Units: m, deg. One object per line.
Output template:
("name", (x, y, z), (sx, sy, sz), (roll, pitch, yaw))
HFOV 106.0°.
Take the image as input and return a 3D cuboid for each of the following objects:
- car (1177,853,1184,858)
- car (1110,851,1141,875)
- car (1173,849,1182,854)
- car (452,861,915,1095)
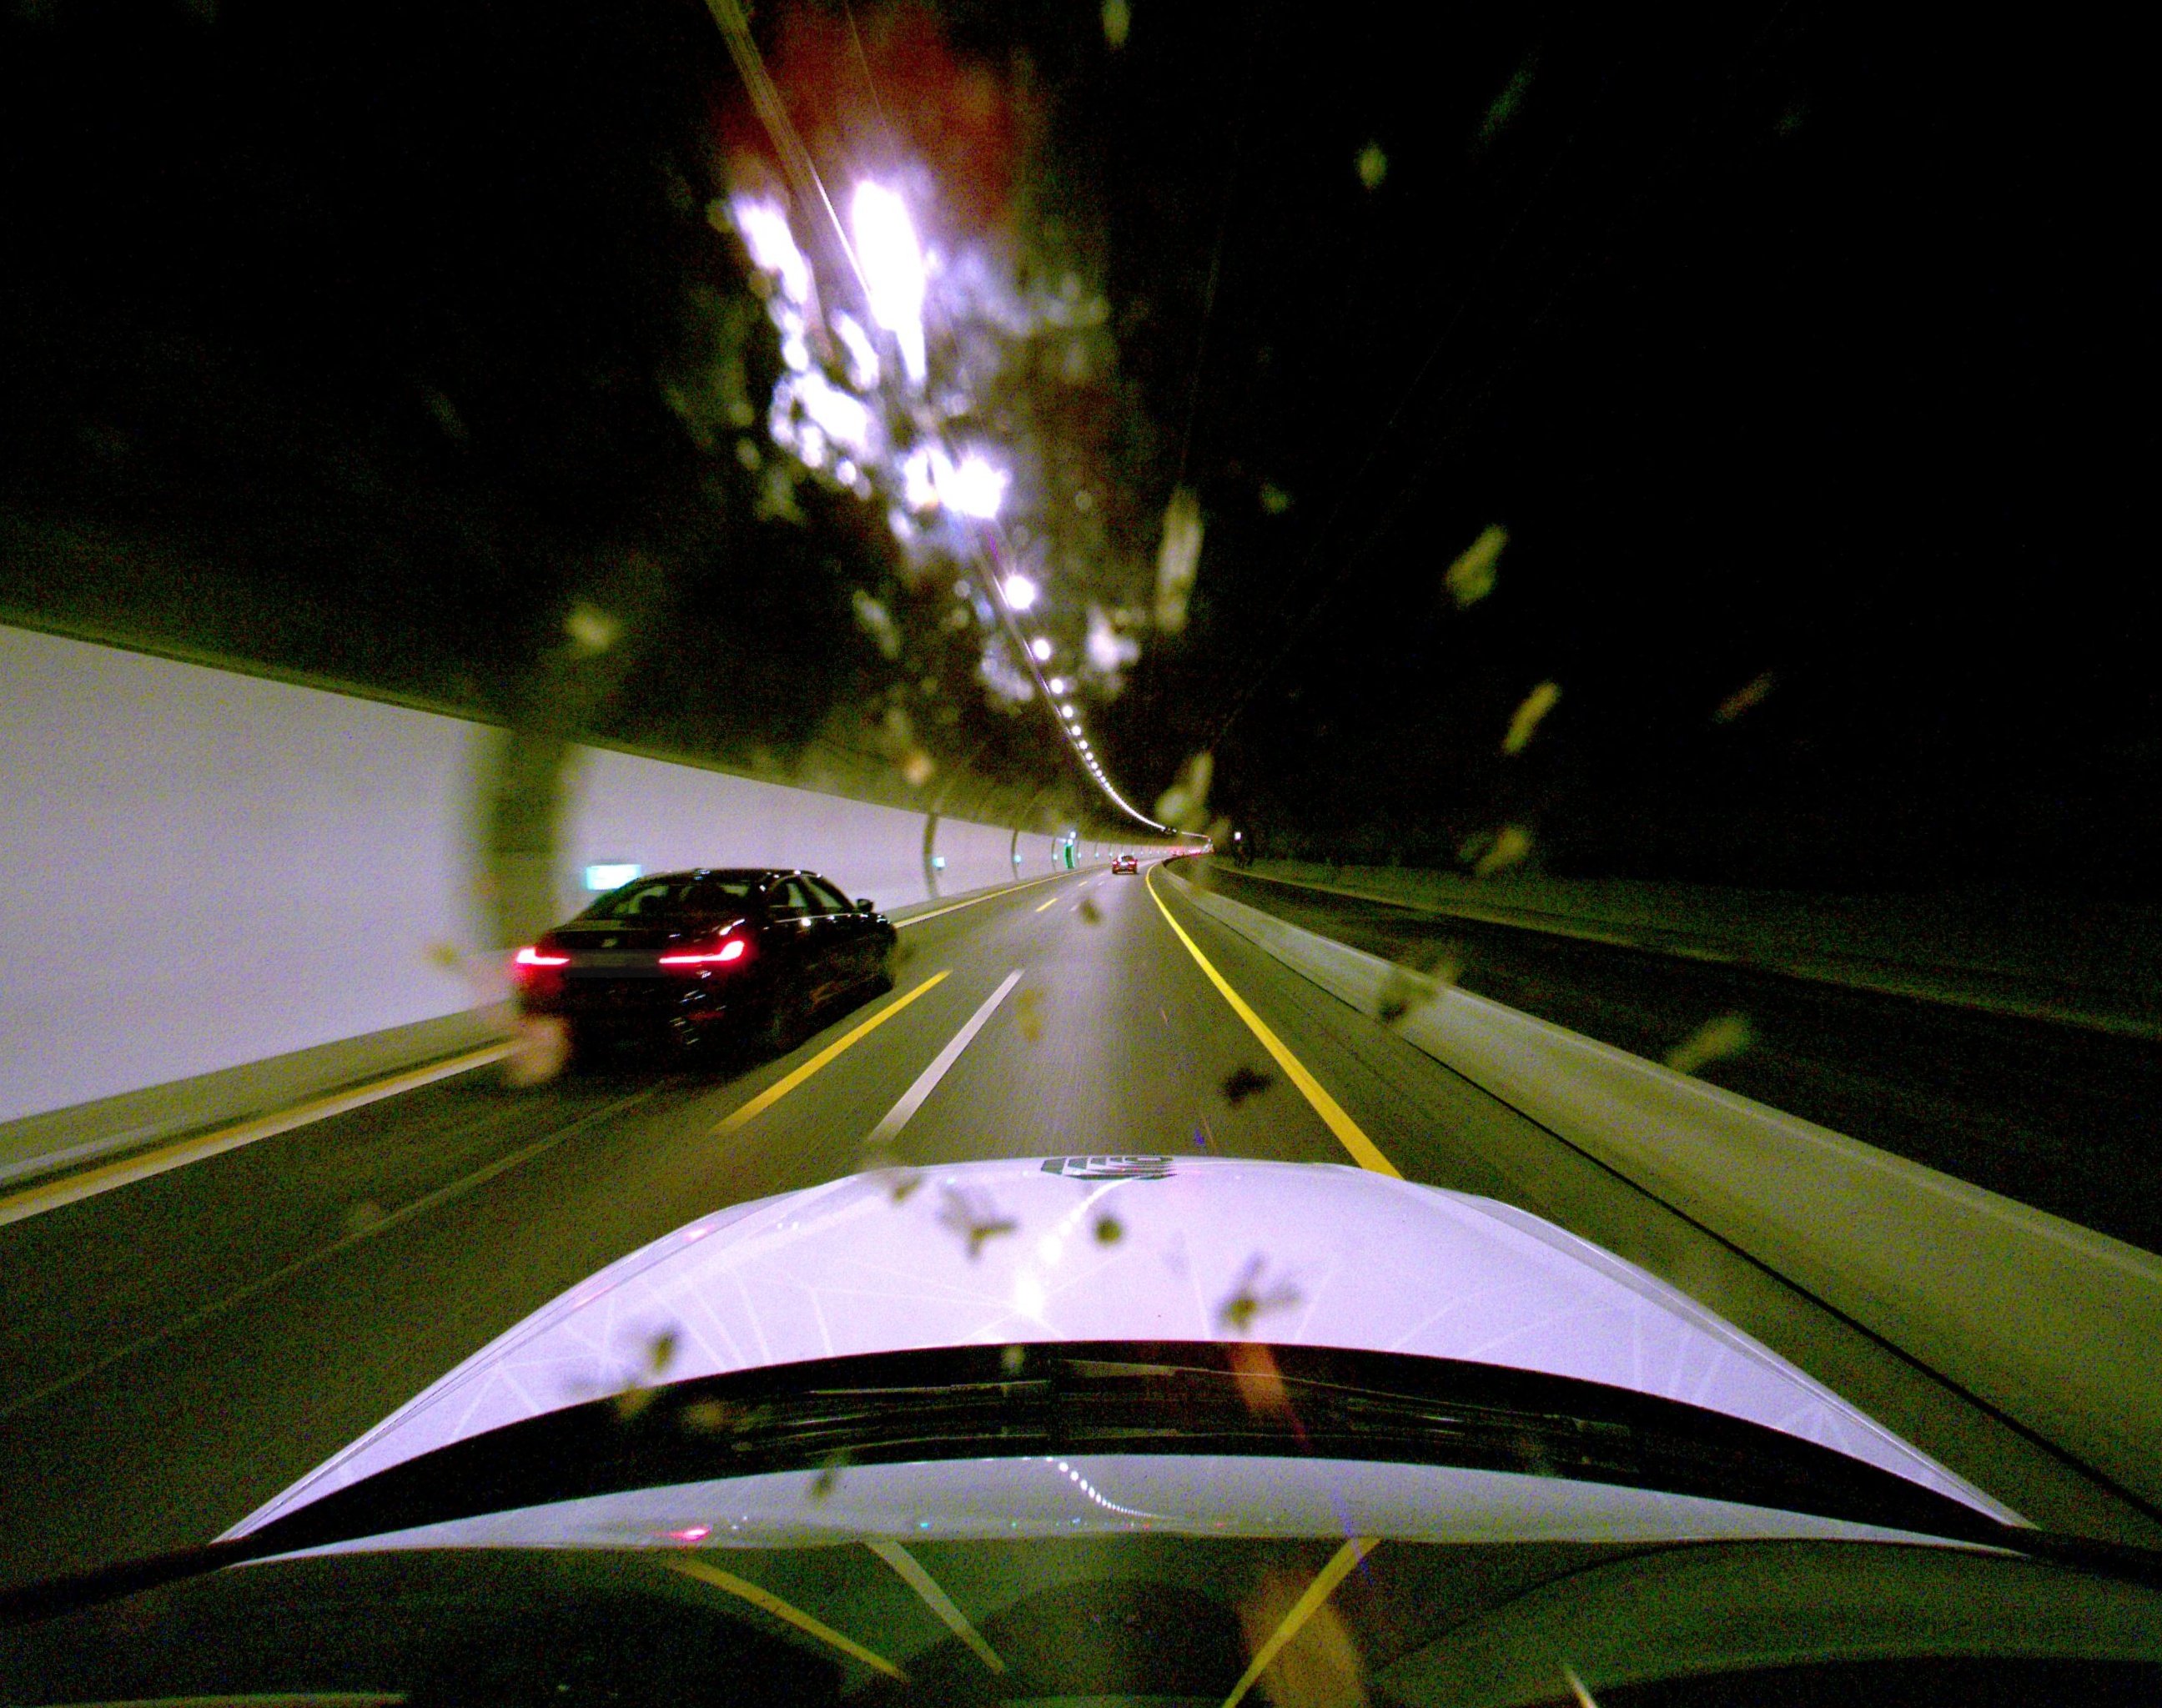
("car", (27.628, 0.530, 226.487), (1.584, 1.333, 3.762), (-1, 0, 12))
("car", (3.453, 0.681, 62.837), (2.130, 1.706, 4.007), (-1, 0, 6))
("car", (29.240, -0.663, 246.754), (2.150, 1.486, 4.014), (-1, 0, 13))
("car", (-3.076, 0.828, 7.703), (1.771, 1.438, 4.886), (-1, 0, 3))
